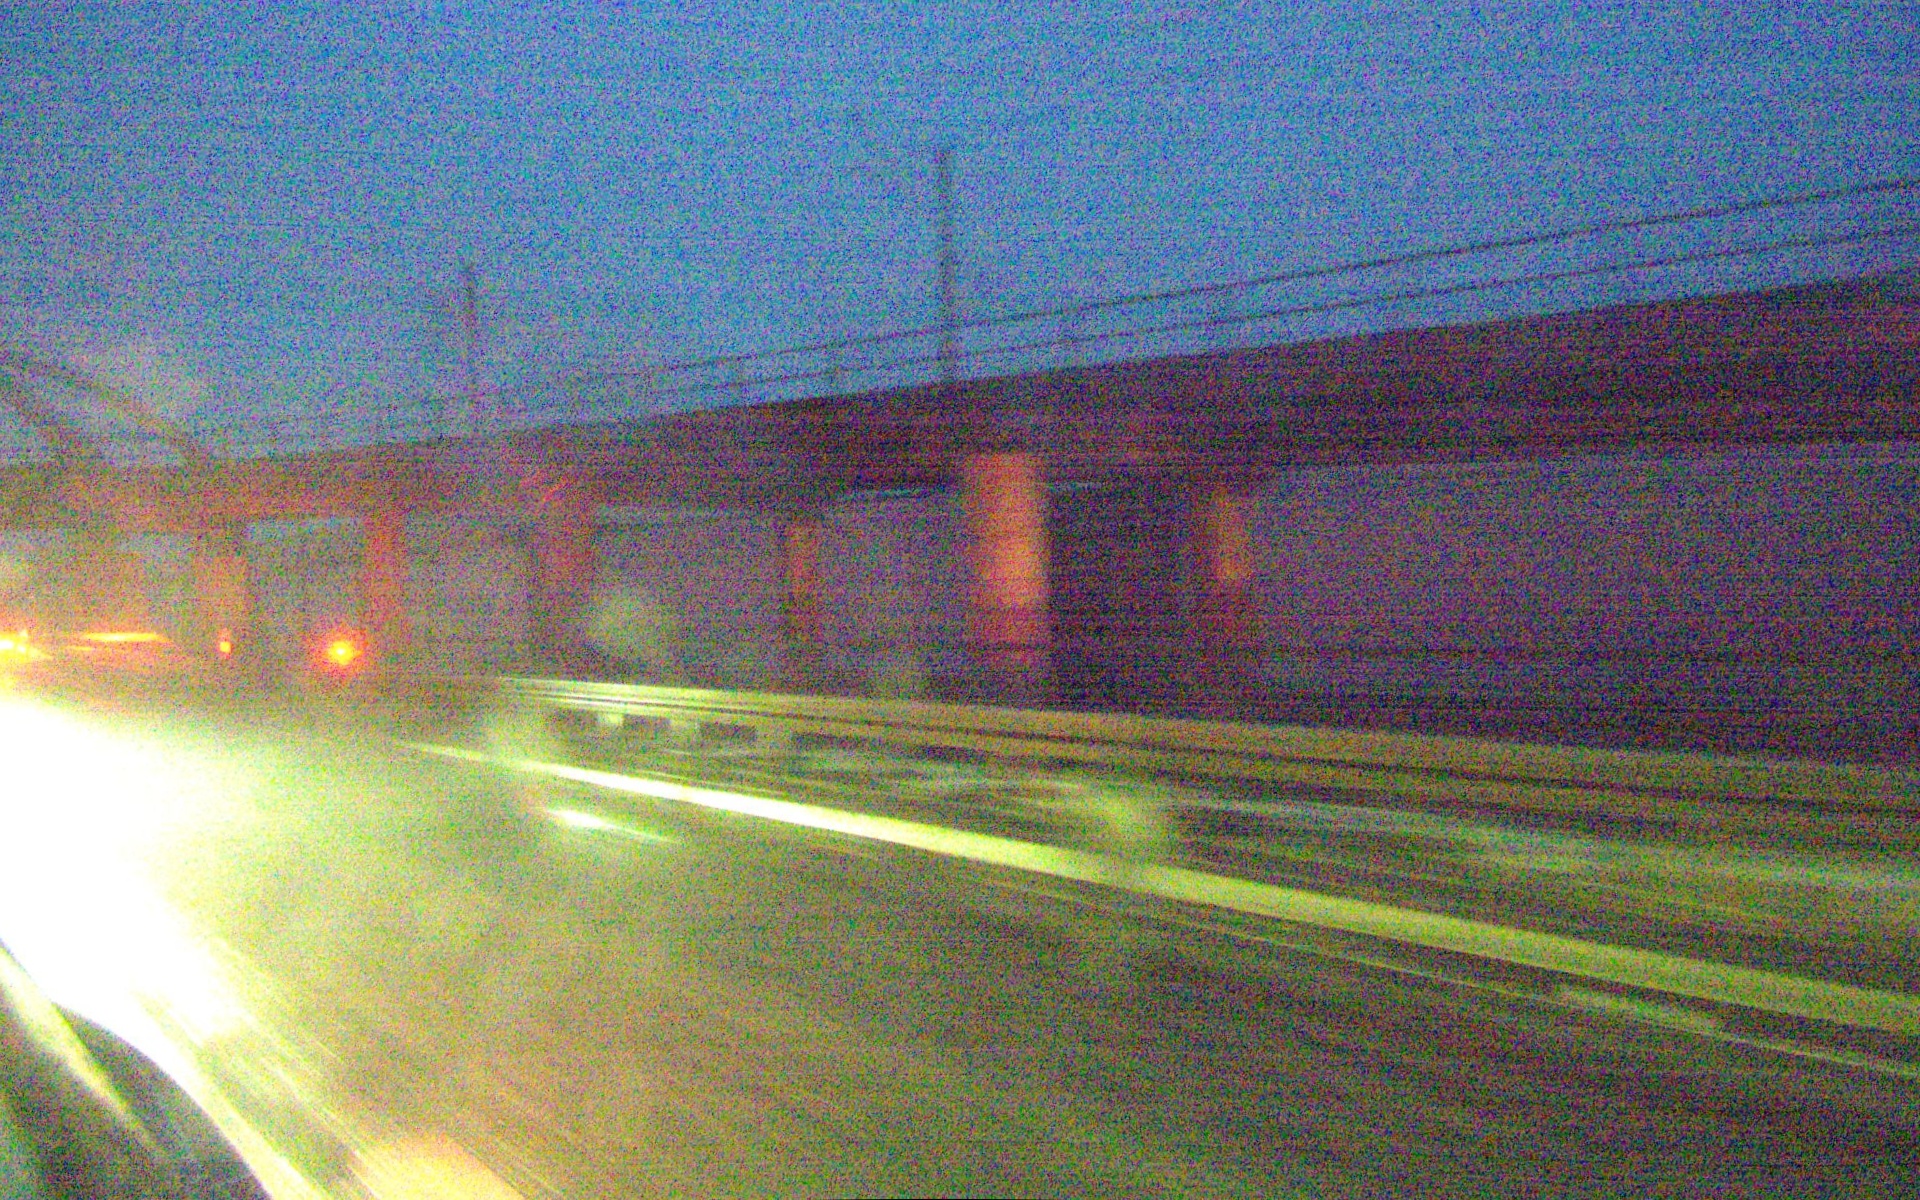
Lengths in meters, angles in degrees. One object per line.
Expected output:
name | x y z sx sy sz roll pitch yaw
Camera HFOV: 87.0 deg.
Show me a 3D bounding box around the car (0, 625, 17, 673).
car | -33.139 1.702 33.871 4.226 1.556 1.843 -3 -2 40
